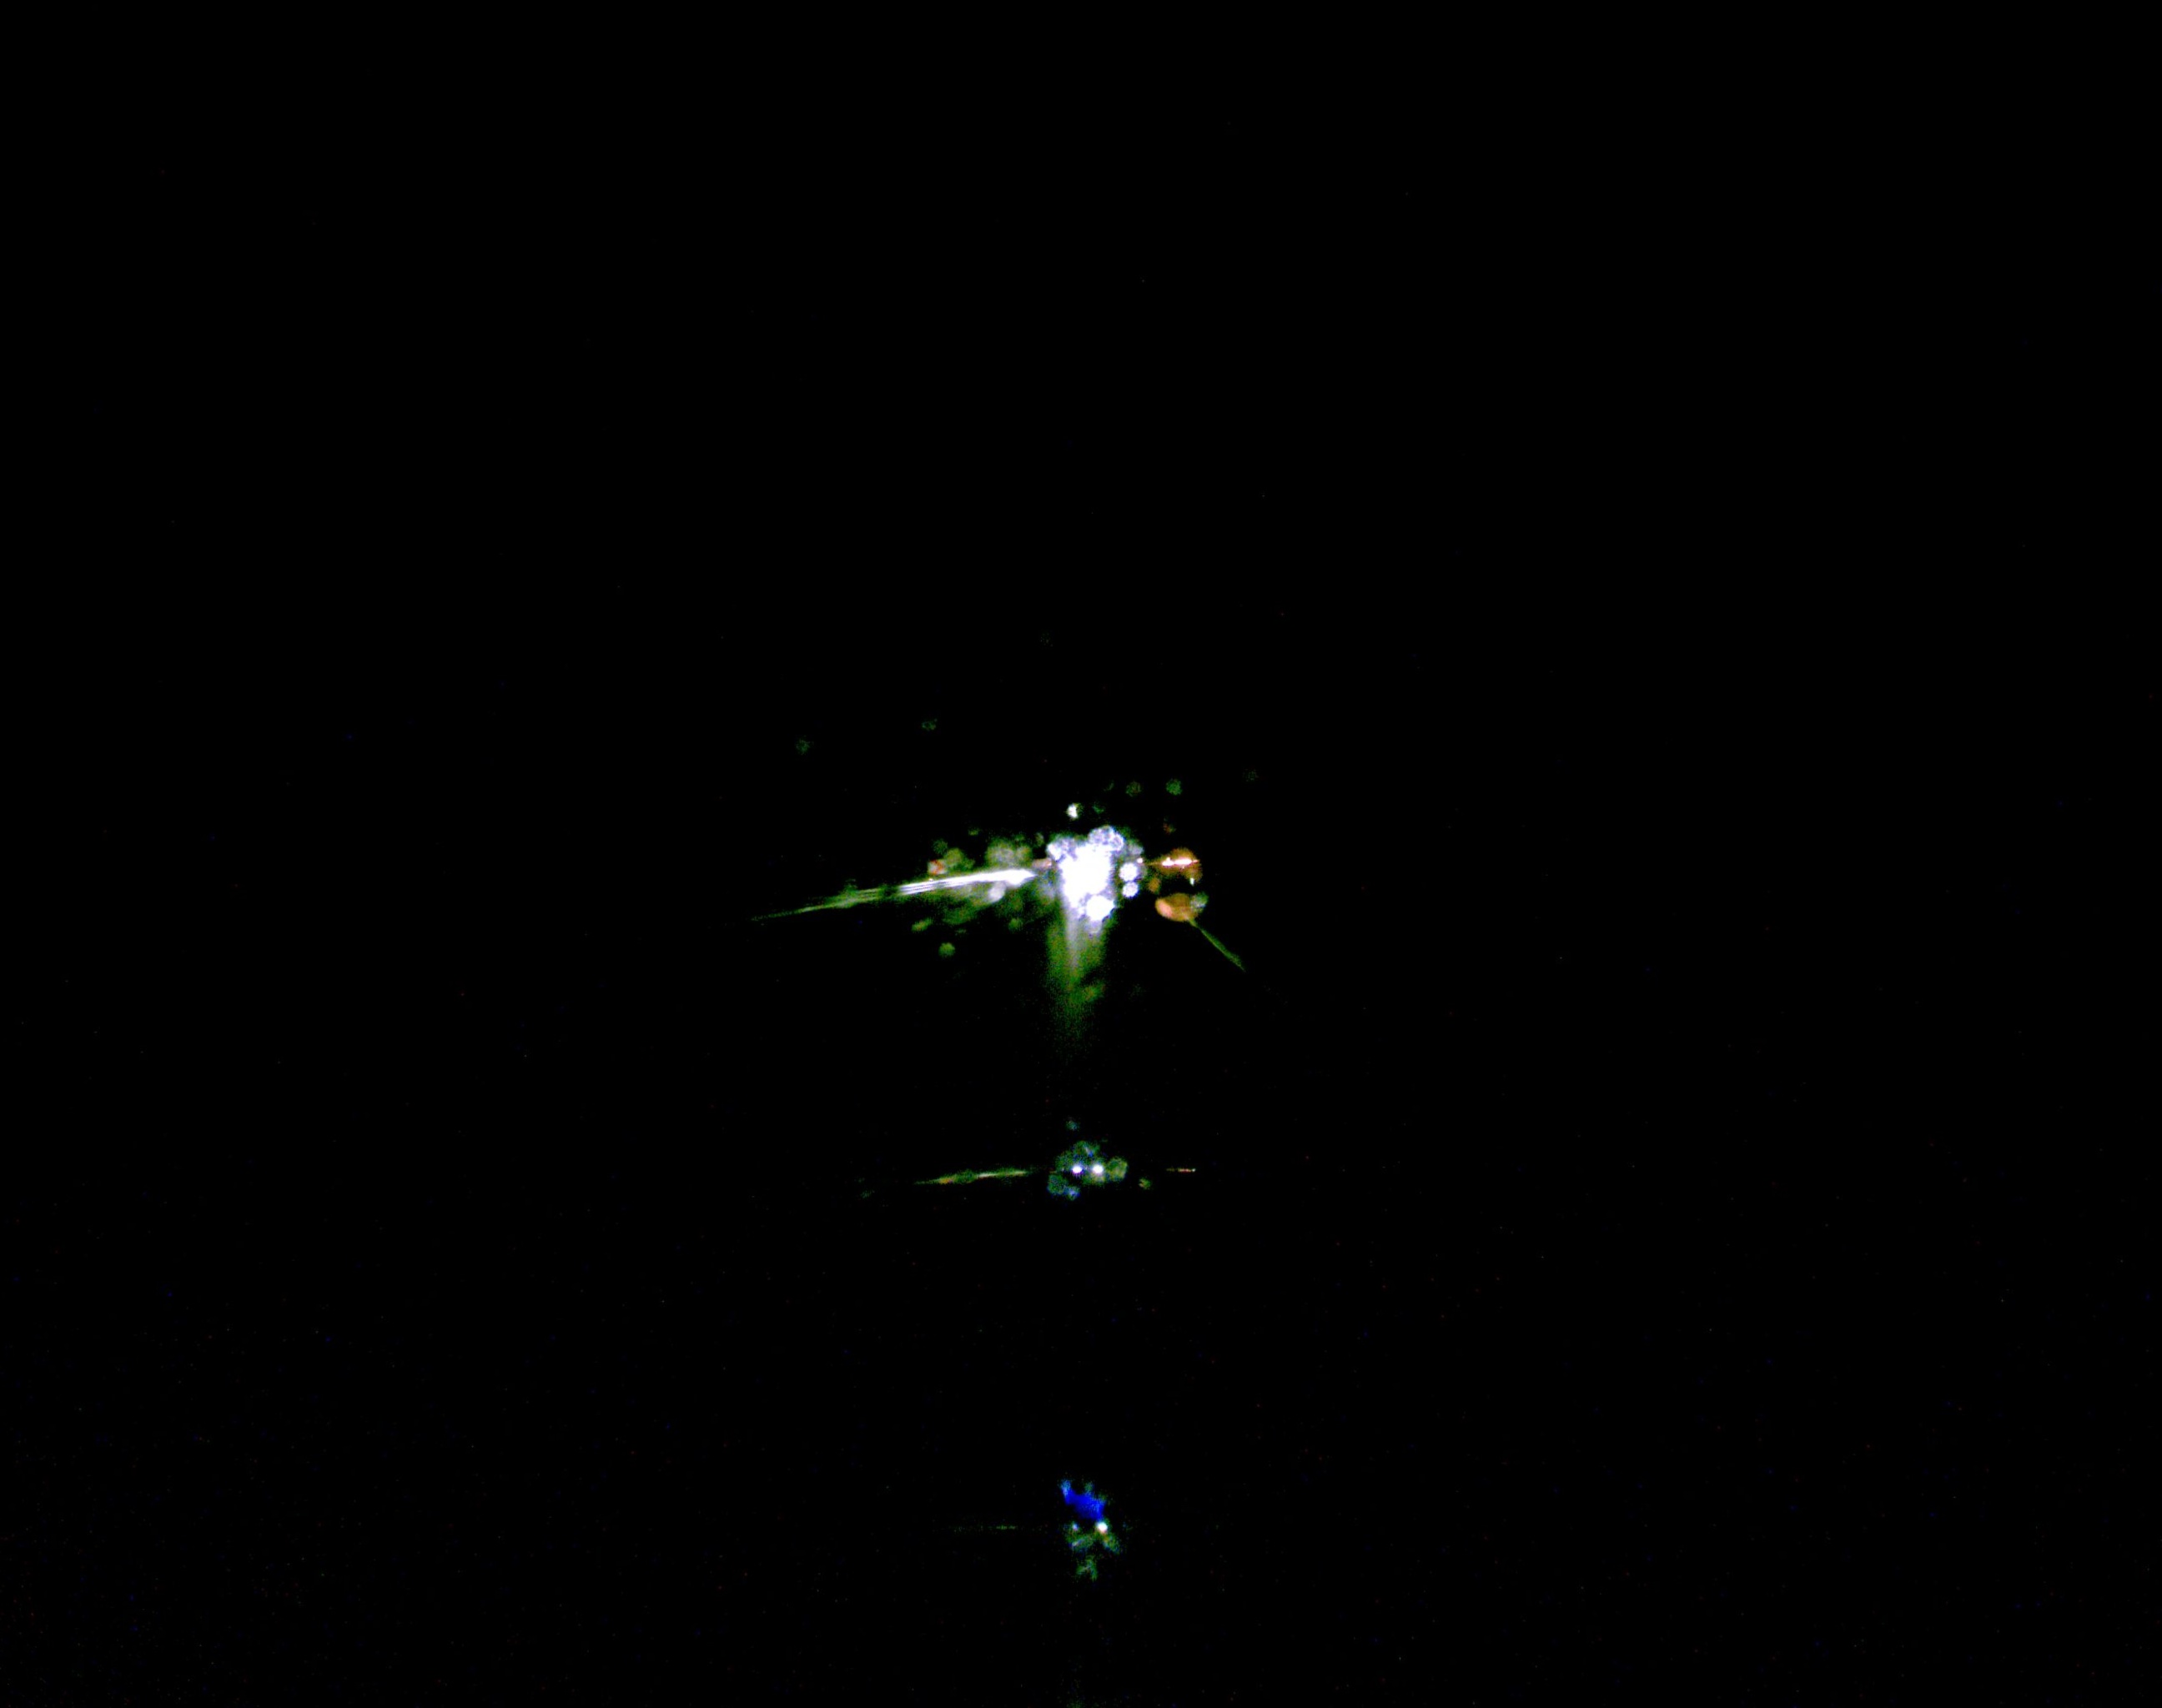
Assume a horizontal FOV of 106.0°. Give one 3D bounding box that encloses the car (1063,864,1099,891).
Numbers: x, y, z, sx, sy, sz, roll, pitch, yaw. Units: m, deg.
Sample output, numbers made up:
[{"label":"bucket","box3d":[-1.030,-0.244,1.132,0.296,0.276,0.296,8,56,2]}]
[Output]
[{"label":"car","box3d":[0.054,1.502,52.463,1.985,1.693,4.702,-1,-2,4]}]
